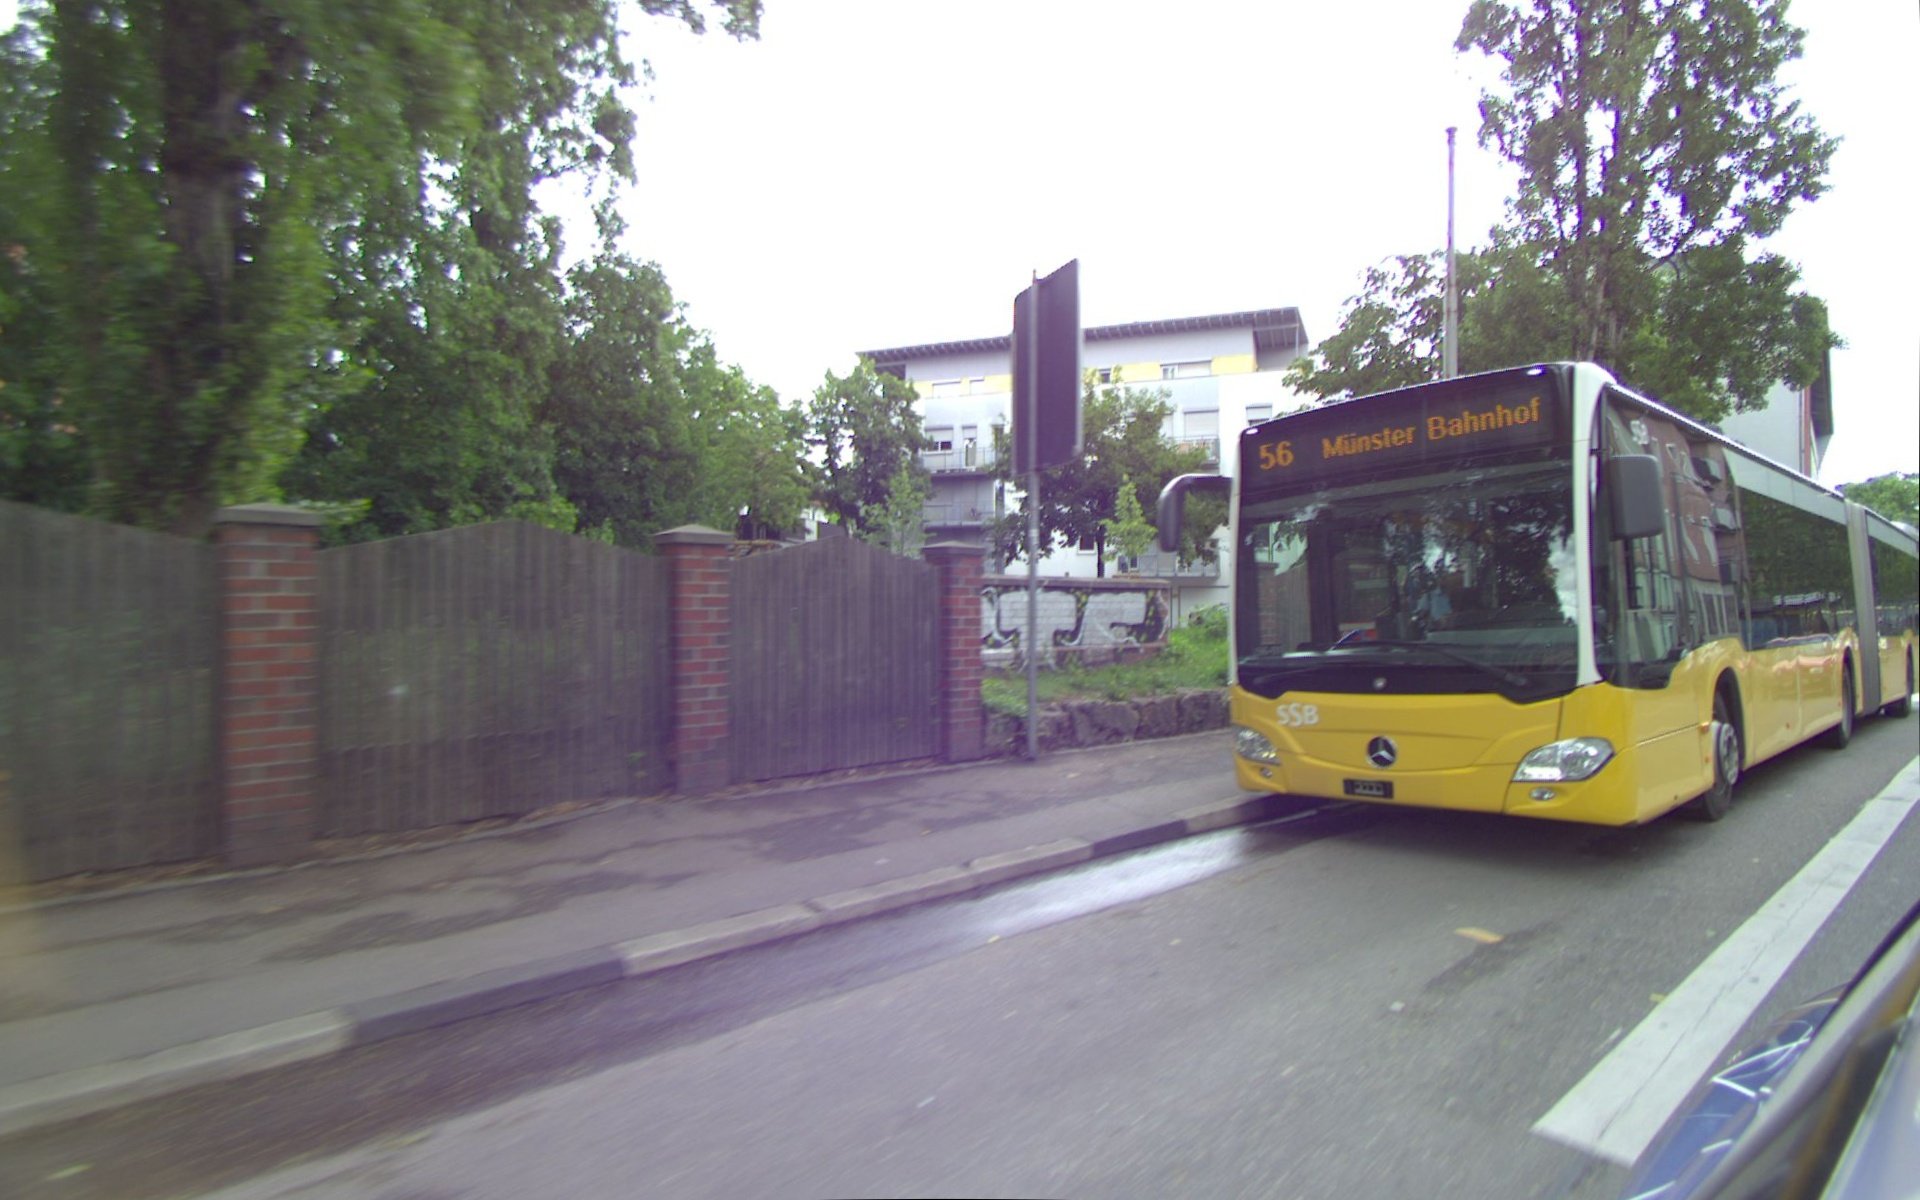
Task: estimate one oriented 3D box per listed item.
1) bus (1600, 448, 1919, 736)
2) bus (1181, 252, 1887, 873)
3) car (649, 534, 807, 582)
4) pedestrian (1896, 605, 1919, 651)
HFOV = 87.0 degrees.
[{"bbox_3d":[12.975,0.012,15.448,9.864,3.177,2.666,1,-3,-41],"label":"bus"},{"bbox_3d":[5.875,-0.110,9.180,9.056,3.180,2.675,1,-3,-41],"label":"bus"},{"bbox_3d":[-8.358,-1.479,36.361,5.502,1.609,1.983,1,2,26],"label":"car"},{"bbox_3d":[39.139,1.151,41.669,0.803,1.816,0.928,2,0,42],"label":"pedestrian"}]
